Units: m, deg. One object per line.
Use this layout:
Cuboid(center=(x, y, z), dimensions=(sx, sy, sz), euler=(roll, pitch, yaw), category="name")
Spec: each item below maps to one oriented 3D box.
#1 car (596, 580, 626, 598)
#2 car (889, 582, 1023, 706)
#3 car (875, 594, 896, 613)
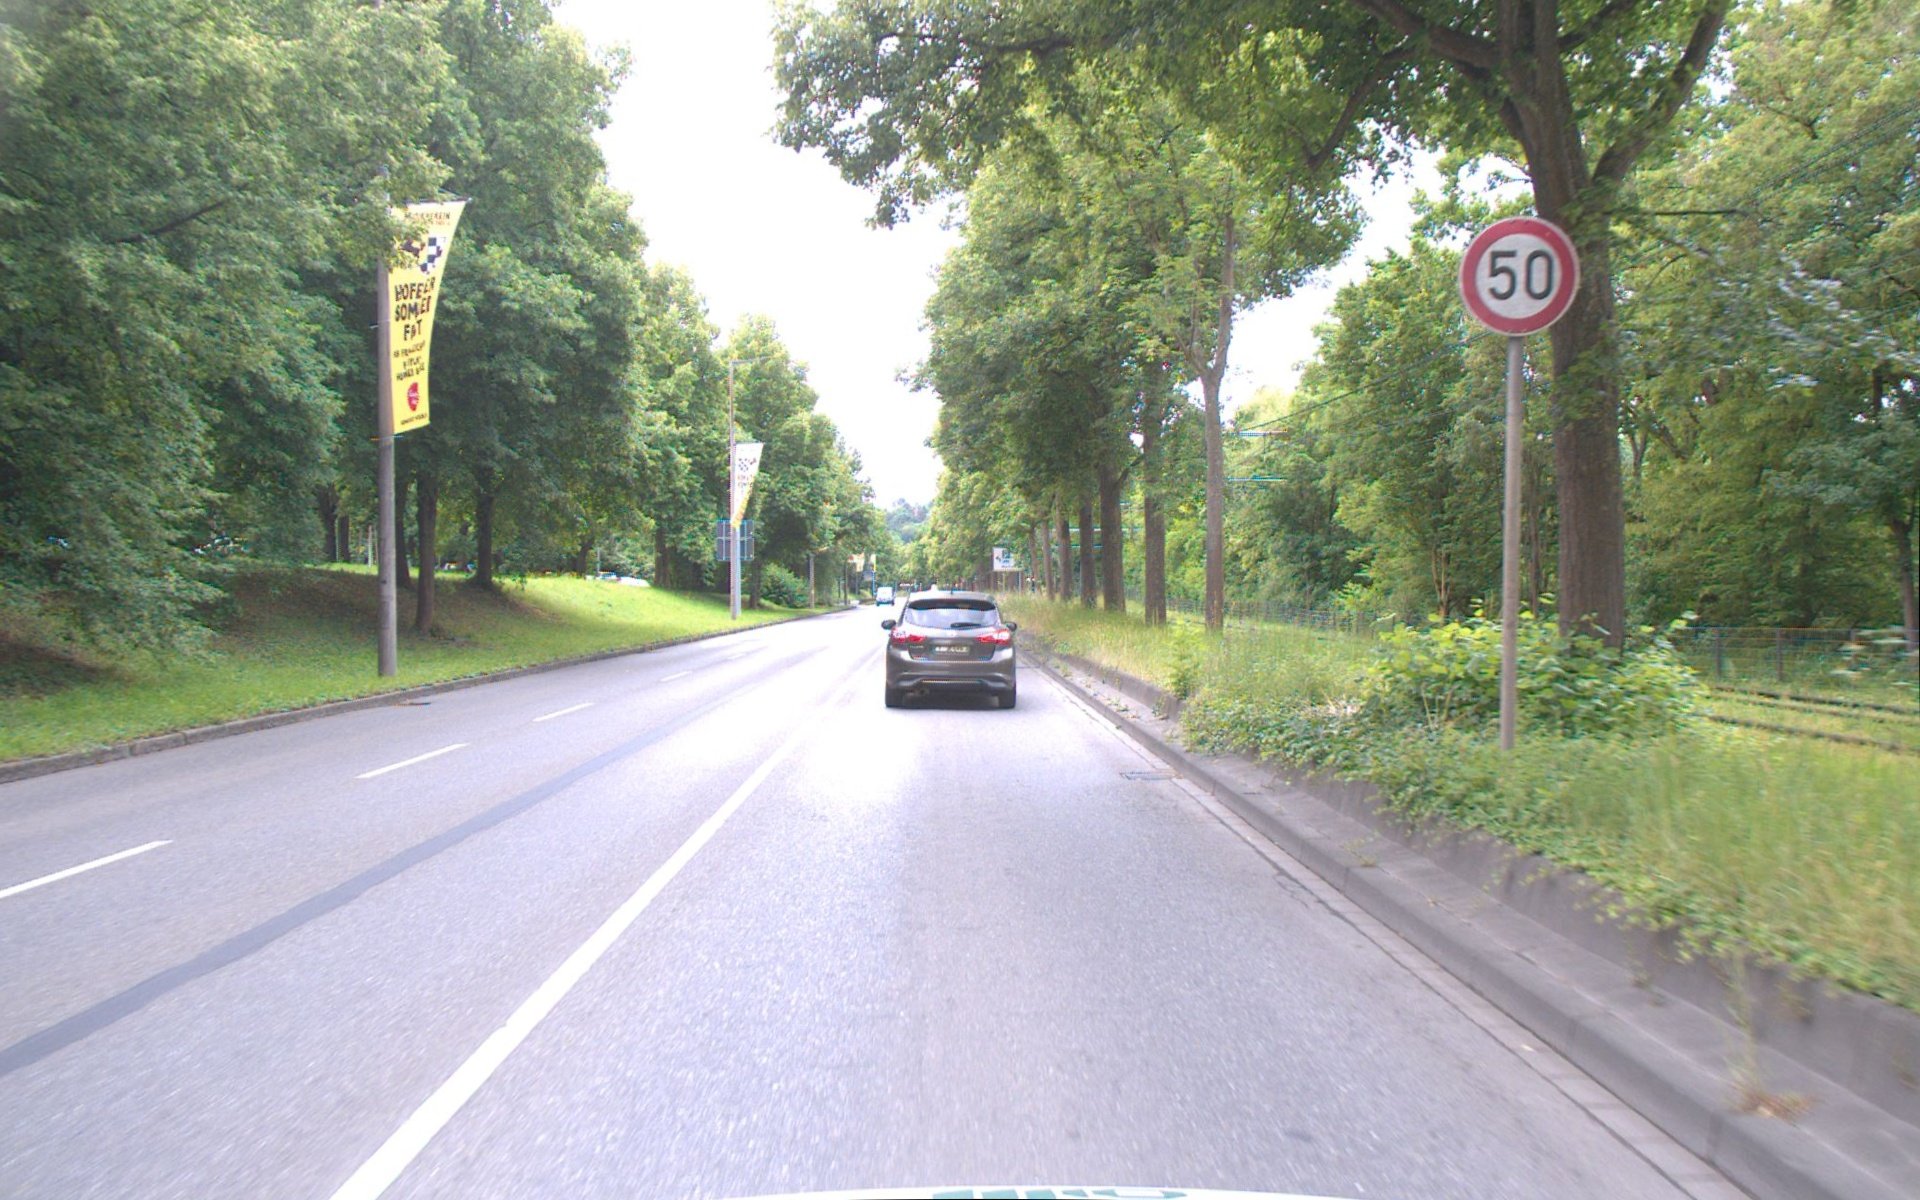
Cuboid(center=(-29.811, -0.909, 141.171), dimensions=(1.625, 1.512, 3.969), euler=(1, 0, -24), category="car")
Cuboid(center=(-0.093, 0.569, 22.880), dimensions=(1.695, 1.564, 3.550), euler=(1, 0, -2), category="car")
Cuboid(center=(-7.804, 0.372, 174.260), dimensions=(1.953, 1.990, 5.183), euler=(-1, 0, 0), category="car")
